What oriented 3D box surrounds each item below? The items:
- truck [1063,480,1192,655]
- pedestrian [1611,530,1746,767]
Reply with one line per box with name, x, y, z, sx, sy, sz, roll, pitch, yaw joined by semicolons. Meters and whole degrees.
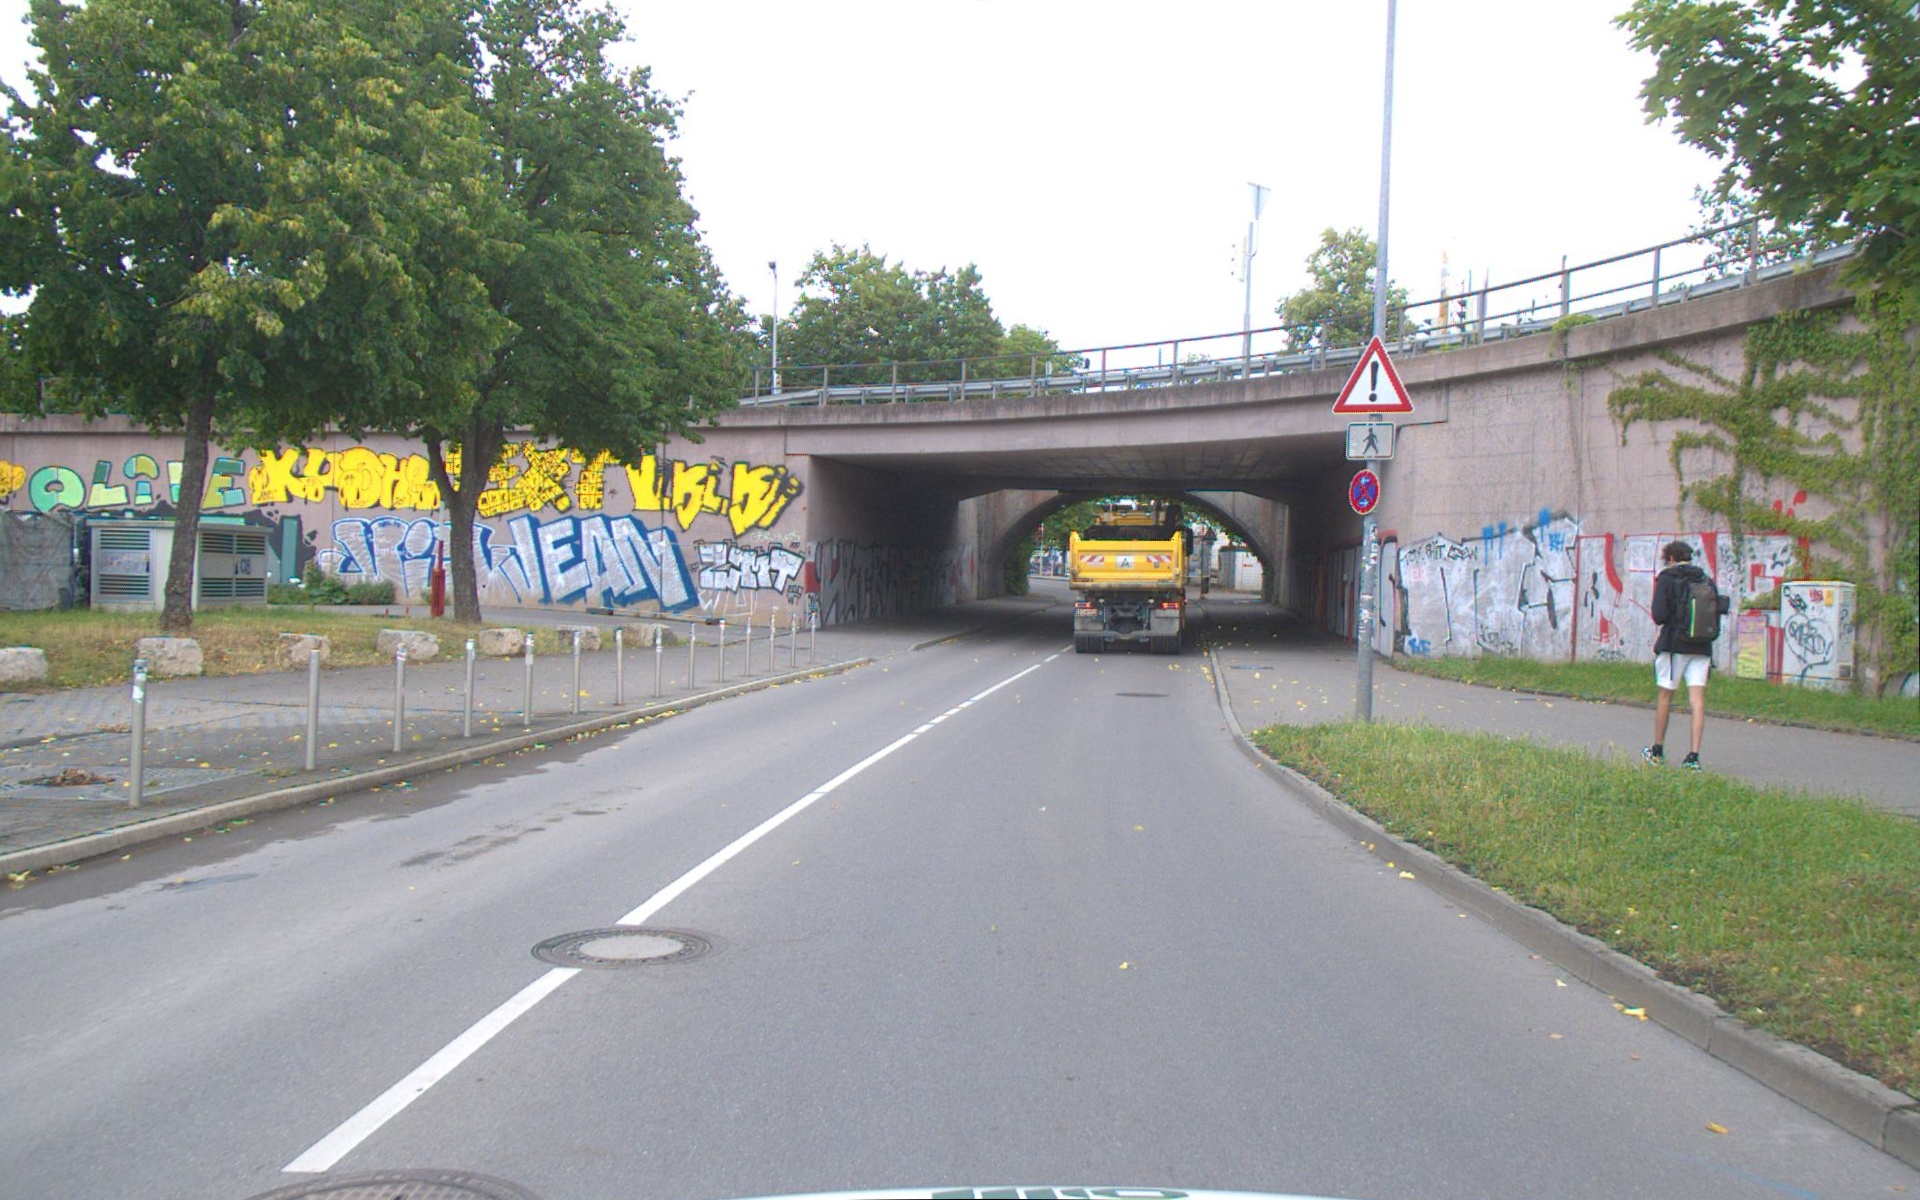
truck;4.247;-0.691;40.649;2.699;3.763;7.886;2;0;8
pedestrian;6.092;0.398;14.060;0.720;1.940;0.825;1;0;-3
